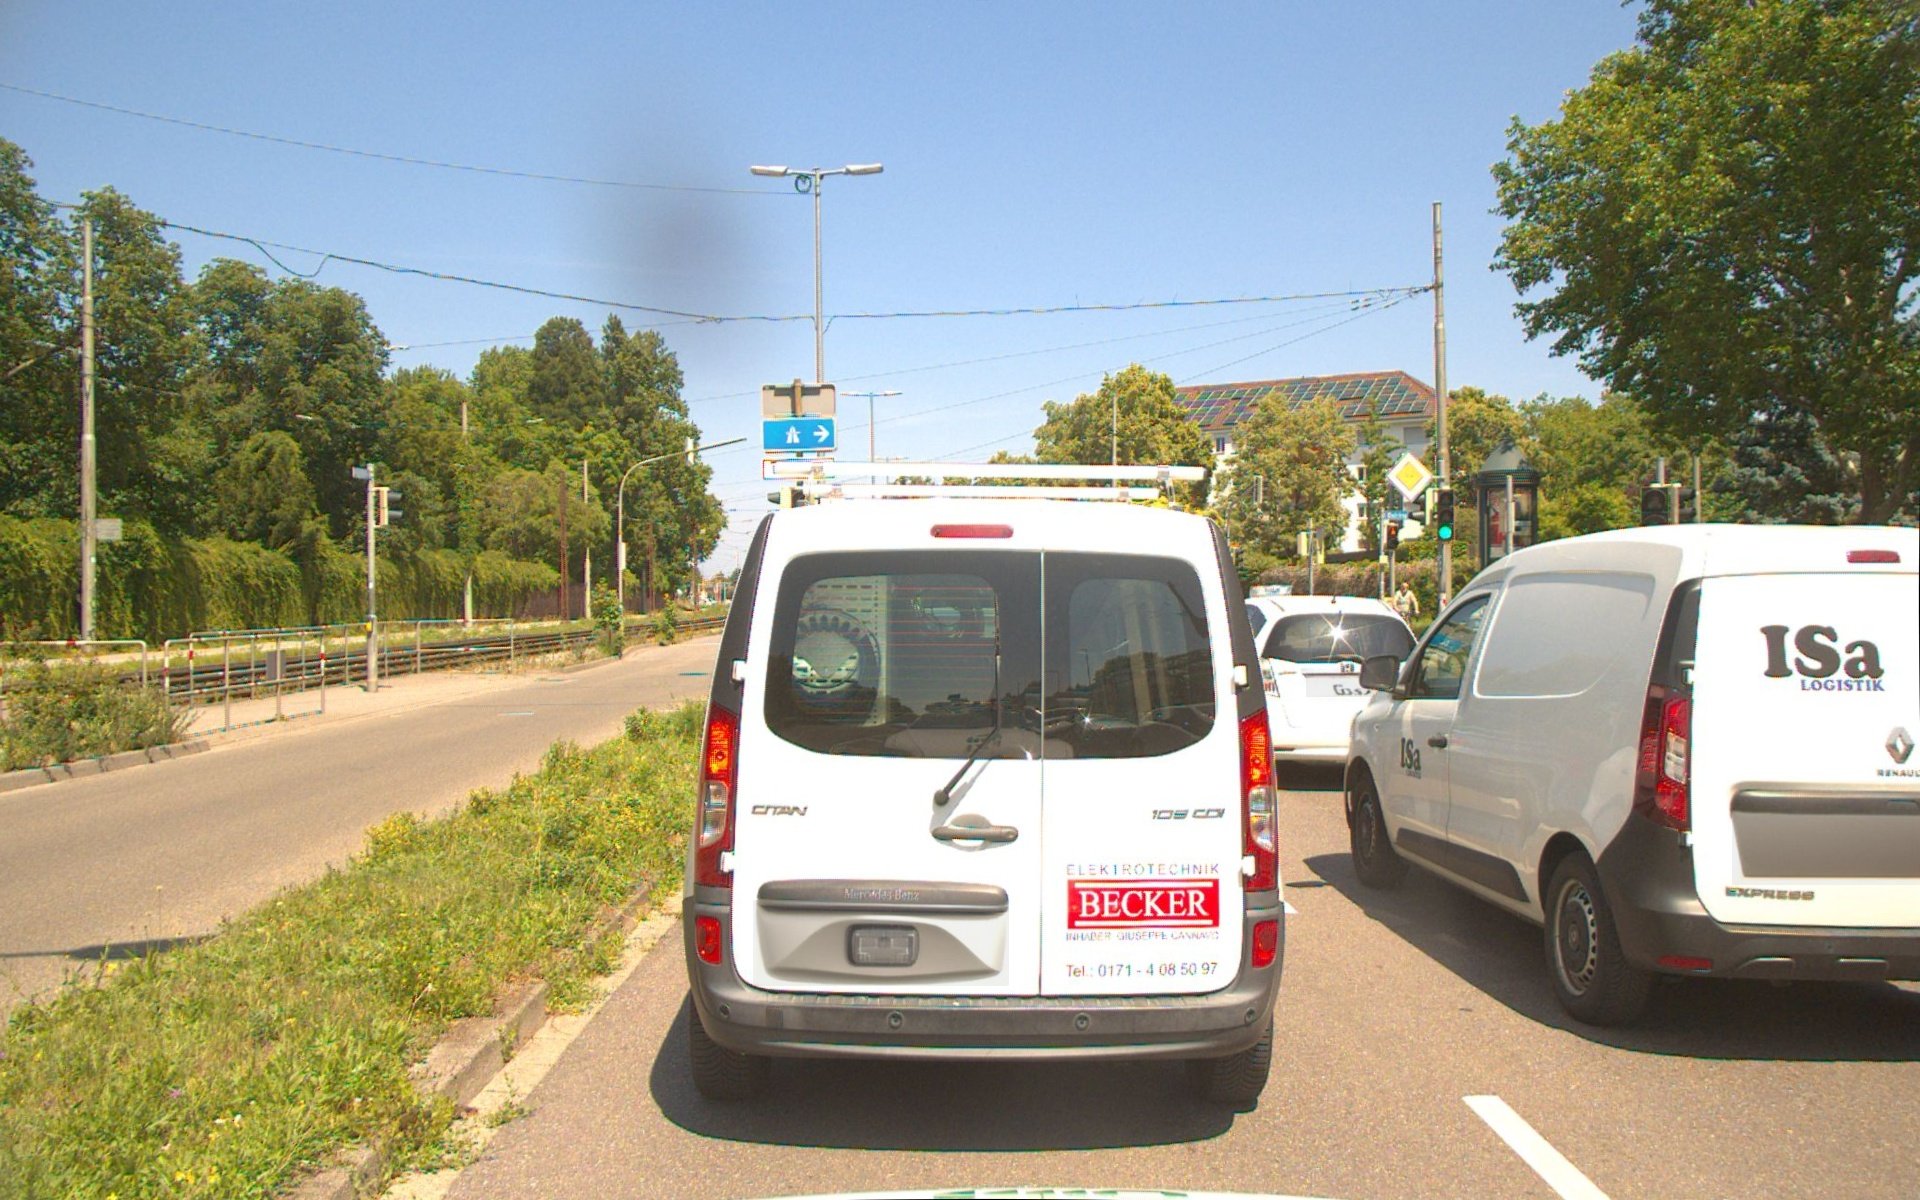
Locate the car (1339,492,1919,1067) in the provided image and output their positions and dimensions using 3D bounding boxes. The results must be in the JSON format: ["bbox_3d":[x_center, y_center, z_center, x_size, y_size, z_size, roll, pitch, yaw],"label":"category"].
[{"bbox_3d":[3.054,0.580,7.312,1.693,1.819,4.063,1,0,-2],"label":"car"}]

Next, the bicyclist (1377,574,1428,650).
[{"bbox_3d":[10.727,0.293,40.095,0.956,1.819,0.724,0,0,-13],"label":"bicyclist"}]

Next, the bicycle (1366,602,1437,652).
[{"bbox_3d":[10.689,0.642,40.115,0.876,1.179,1.950,0,0,-13],"label":"bicycle"}]

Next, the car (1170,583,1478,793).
[{"bbox_3d":[3.073,0.661,14.793,1.798,1.596,3.999,1,1,-1],"label":"car"}]

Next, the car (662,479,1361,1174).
[{"bbox_3d":[0.105,0.576,6.433,1.784,1.770,4.395,0,0,-1],"label":"car"}]
